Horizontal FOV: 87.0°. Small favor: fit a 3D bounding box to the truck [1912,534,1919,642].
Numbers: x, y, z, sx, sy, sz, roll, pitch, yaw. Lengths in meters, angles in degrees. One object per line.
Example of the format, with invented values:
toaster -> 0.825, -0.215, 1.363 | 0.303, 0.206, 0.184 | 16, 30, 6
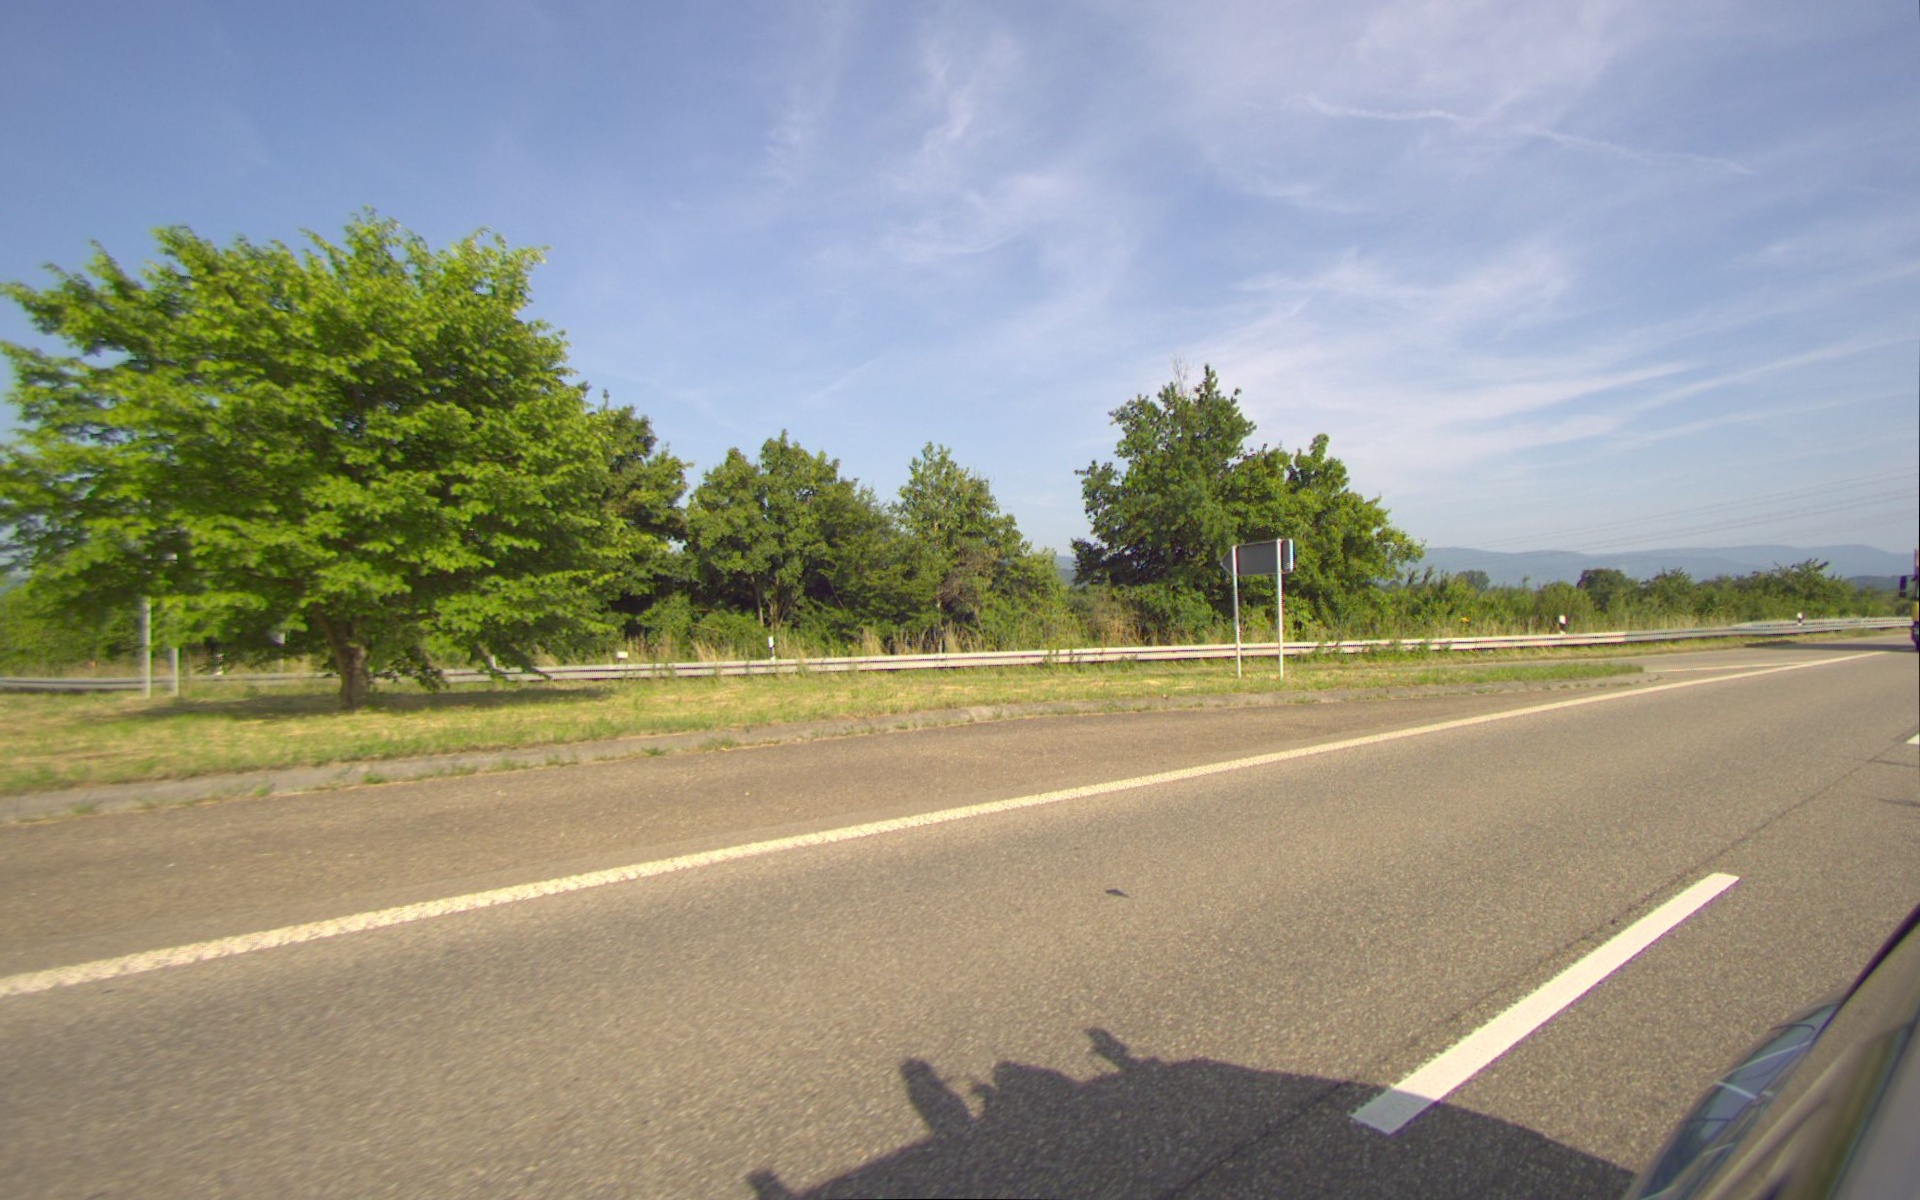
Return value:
truck -> 34.461, -0.357, 33.658 | 10.301, 3.359, 2.785 | 0, 0, -39
